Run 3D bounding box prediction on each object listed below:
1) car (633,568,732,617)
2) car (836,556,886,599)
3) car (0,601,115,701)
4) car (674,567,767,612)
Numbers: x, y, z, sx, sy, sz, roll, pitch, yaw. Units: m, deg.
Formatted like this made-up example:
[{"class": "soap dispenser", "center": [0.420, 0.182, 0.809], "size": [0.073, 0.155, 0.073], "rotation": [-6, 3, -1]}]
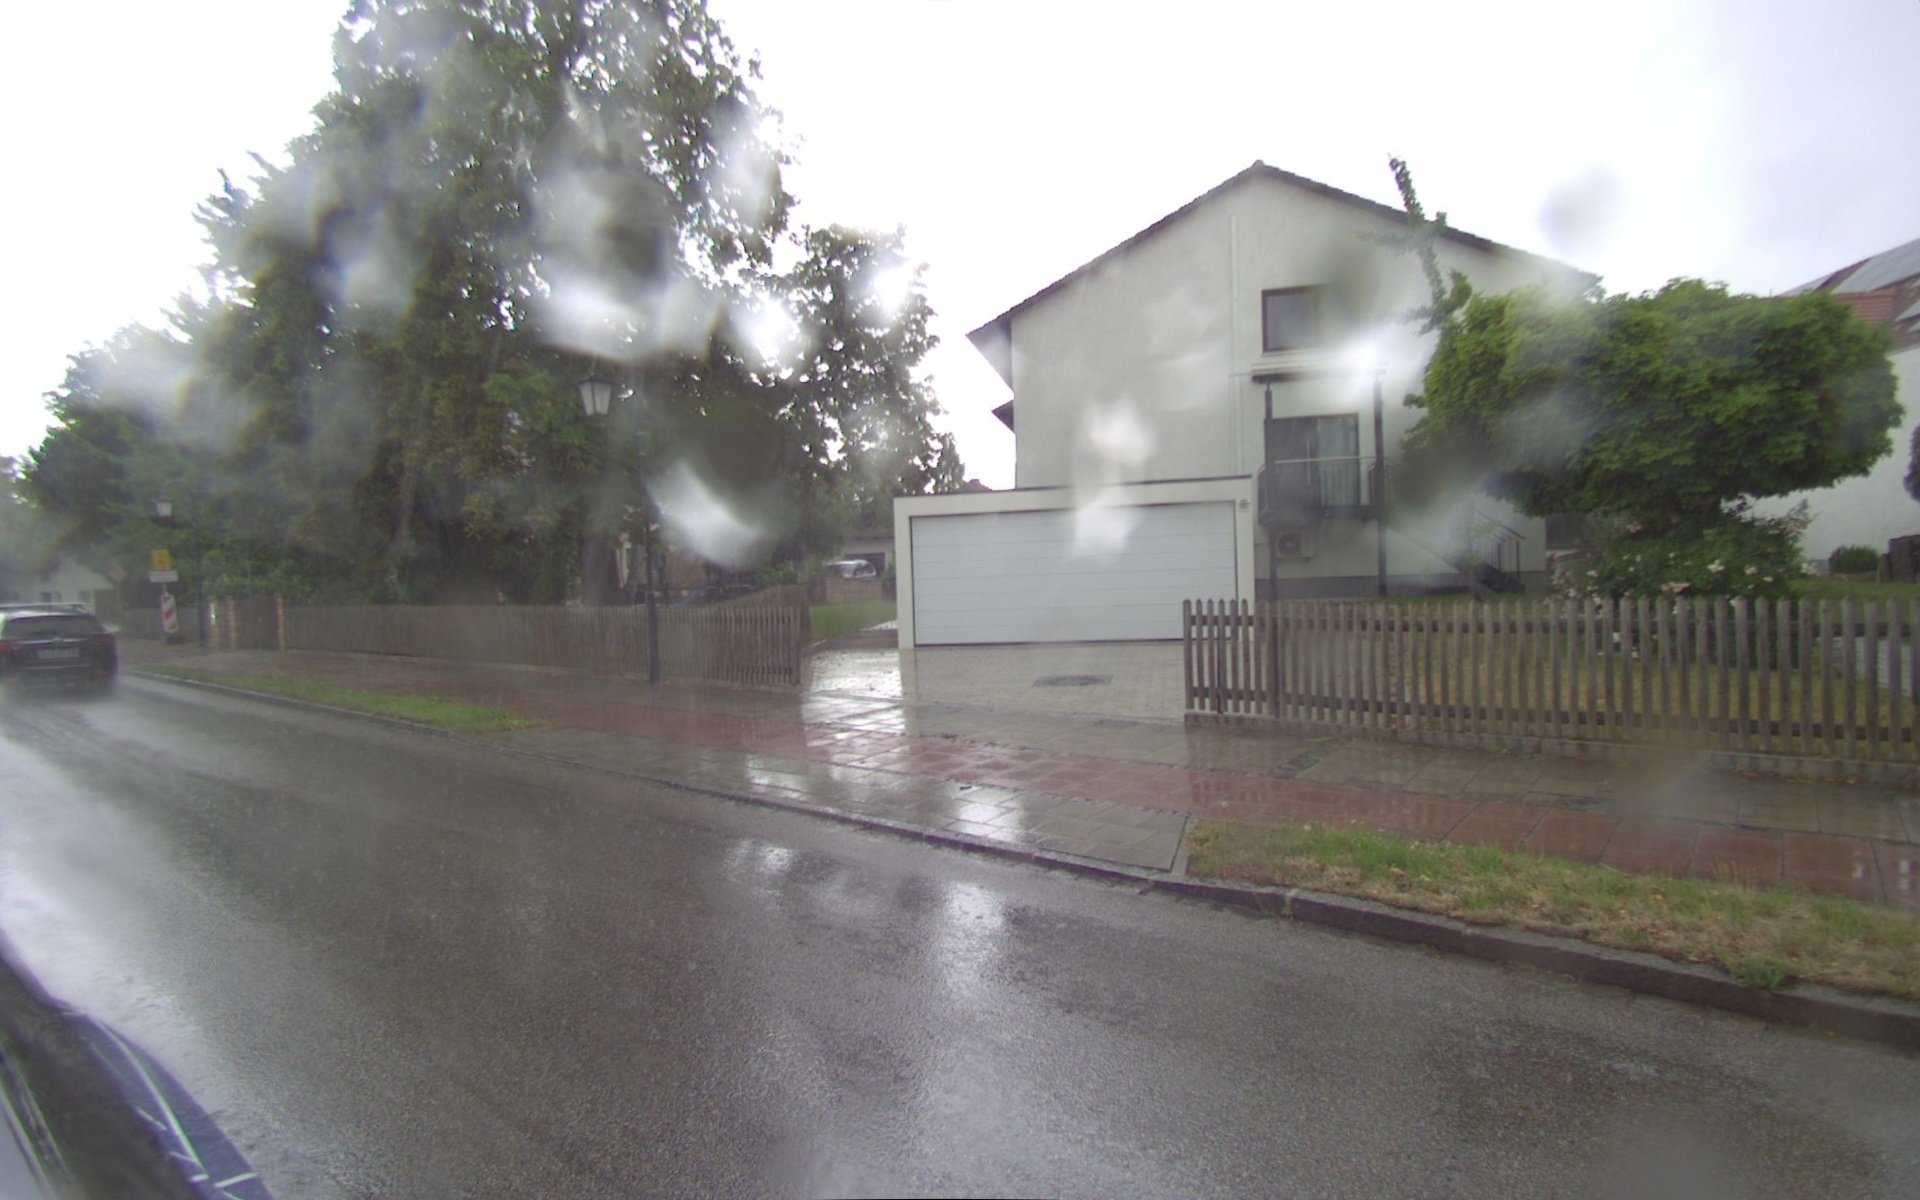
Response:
[{"class": "car", "center": [-11.909, -0.328, 43.528], "size": [3.613, 1.815, 1.839], "rotation": [-3, 2, 7]}, {"class": "car", "center": [-5.548, -1.243, 57.053], "size": [1.767, 2.311, 3.838], "rotation": [-1, 0, 11]}, {"class": "car", "center": [-16.294, 0.842, 17.739], "size": [4.186, 1.532, 1.621], "rotation": [-1, 1, 41]}, {"class": "car", "center": [-10.944, -0.498, 46.368], "size": [3.613, 1.815, 1.839], "rotation": [-3, 2, 7]}]
